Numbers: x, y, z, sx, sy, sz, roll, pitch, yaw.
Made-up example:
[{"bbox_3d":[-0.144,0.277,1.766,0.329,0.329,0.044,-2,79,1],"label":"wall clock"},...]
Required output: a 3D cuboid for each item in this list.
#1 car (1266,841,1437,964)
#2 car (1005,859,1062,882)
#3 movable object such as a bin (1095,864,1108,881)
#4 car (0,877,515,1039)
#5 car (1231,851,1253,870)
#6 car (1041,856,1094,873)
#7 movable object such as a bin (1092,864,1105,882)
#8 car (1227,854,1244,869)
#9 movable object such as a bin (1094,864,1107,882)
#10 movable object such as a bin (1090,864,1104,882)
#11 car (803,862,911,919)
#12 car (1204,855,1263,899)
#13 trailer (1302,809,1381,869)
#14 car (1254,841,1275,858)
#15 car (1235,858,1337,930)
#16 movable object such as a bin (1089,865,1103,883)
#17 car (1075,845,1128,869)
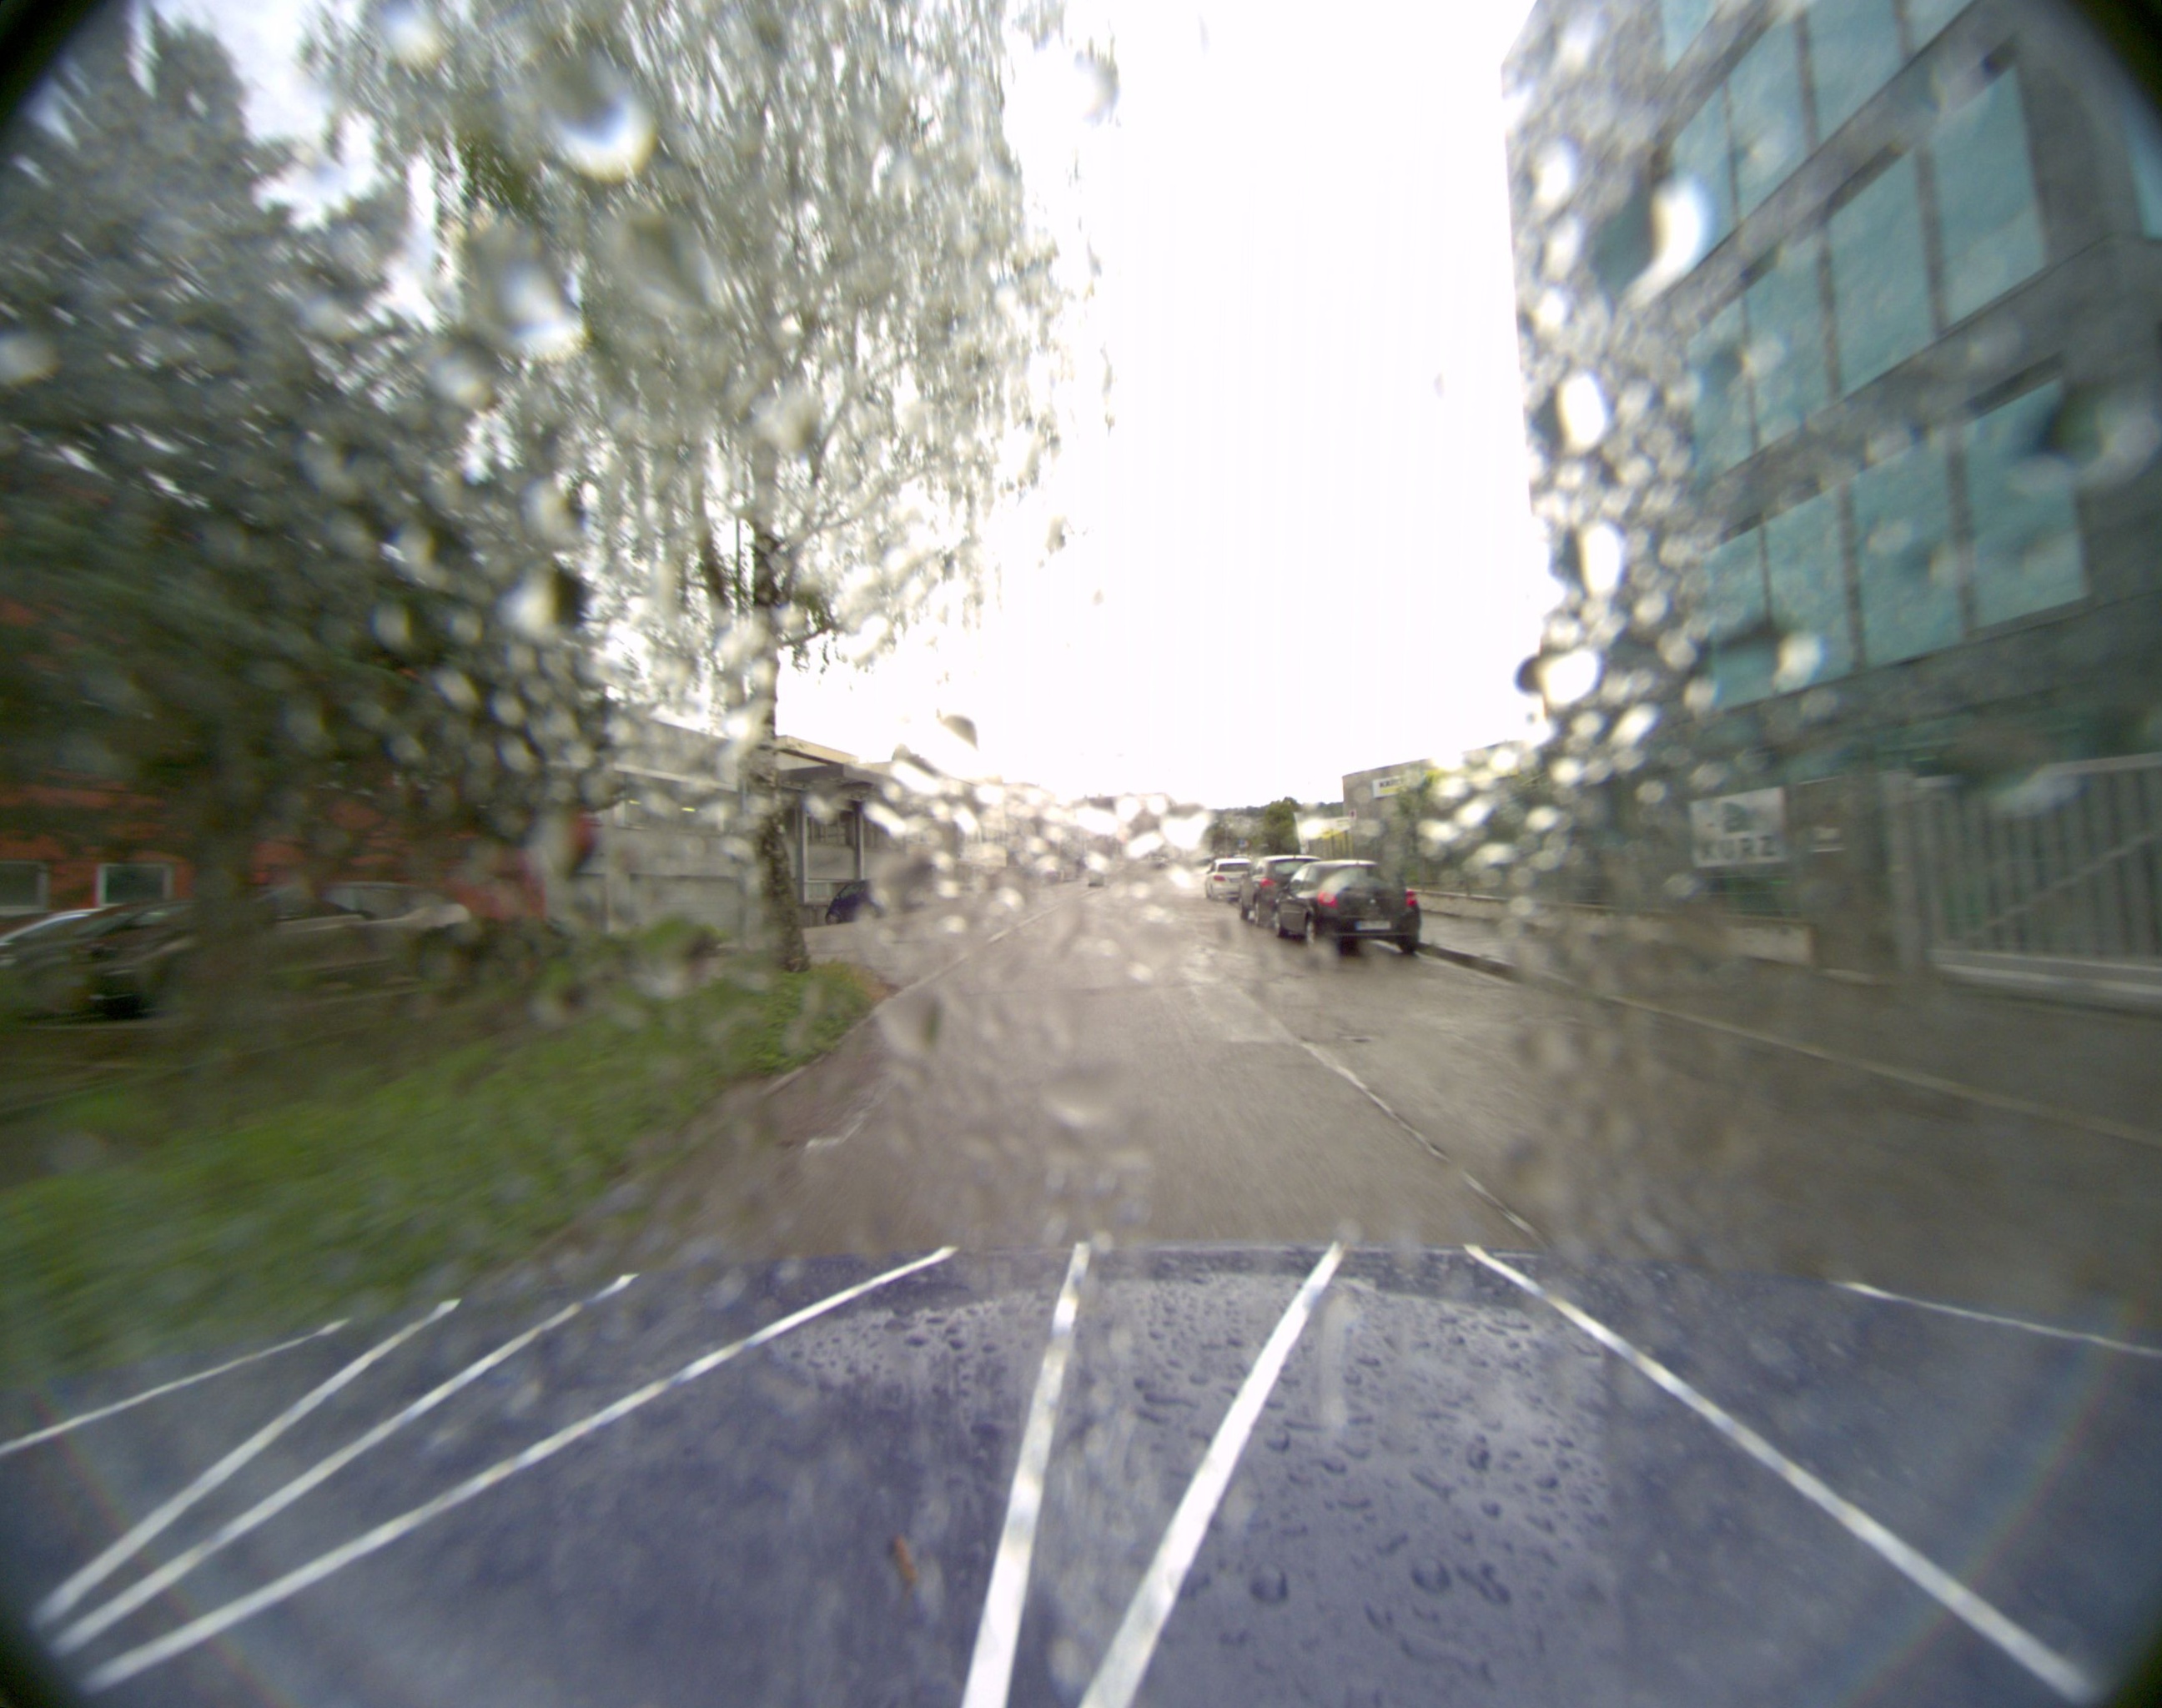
[{"bbox_3d":[4.547,0.733,13.407,1.743,1.787,3.959,-2,0,3],"label":"car"},{"bbox_3d":[-3.403,1.196,55.122,3.745,1.531,1.632,-2,0,13],"label":"car"},{"bbox_3d":[1.351,1.225,49.526,0.735,1.084,0.594,-2,0,10],"label":"movable object such as a bin"},{"bbox_3d":[-10.937,1.241,10.562,1.998,1.569,4.517,-4,-1,18],"label":"car"},{"bbox_3d":[16.209,0.670,76.607,1.997,1.902,4.003,0,0,9],"label":"car"},{"bbox_3d":[-1.275,0.989,71.756,4.617,1.488,1.943,-2,0,15],"label":"car"},{"bbox_3d":[1.113,1.215,48.305,0.735,1.084,0.594,-2,0,10],"label":"movable object such as a bin"},{"bbox_3d":[20.752,1.023,102.093,2.066,2.002,4.515,0,0,10],"label":"car"},{"bbox_3d":[1.248,1.216,48.912,0.735,1.084,0.594,-2,0,10],"label":"movable object such as a bin"},{"bbox_3d":[1.009,1.213,47.692,0.735,1.084,0.594,-2,0,10],"label":"movable object such as a bin"},{"bbox_3d":[-8.418,1.382,28.586,3.440,1.490,1.621,-11,-3,21],"label":"car"},{"bbox_3d":[5.879,0.829,29.640,1.739,1.527,4.252,-2,0,5],"label":"car"},{"bbox_3d":[18.552,-1.025,54.217,2.393,4.065,4.688,-2,0,-36],"label":"trailer"},{"bbox_3d":[23.294,-0.536,96.428,1.995,2.002,4.006,-2,0,21],"label":"car"},{"bbox_3d":[4.814,0.867,18.368,1.636,1.549,4.085,0,0,4],"label":"car"},{"bbox_3d":[0.913,1.209,47.083,0.735,1.084,0.594,-2,0,10],"label":"movable object such as a bin"},{"bbox_3d":[2.225,0.298,80.760,5.146,2.280,2.205,-2,0,17],"label":"car"}]
